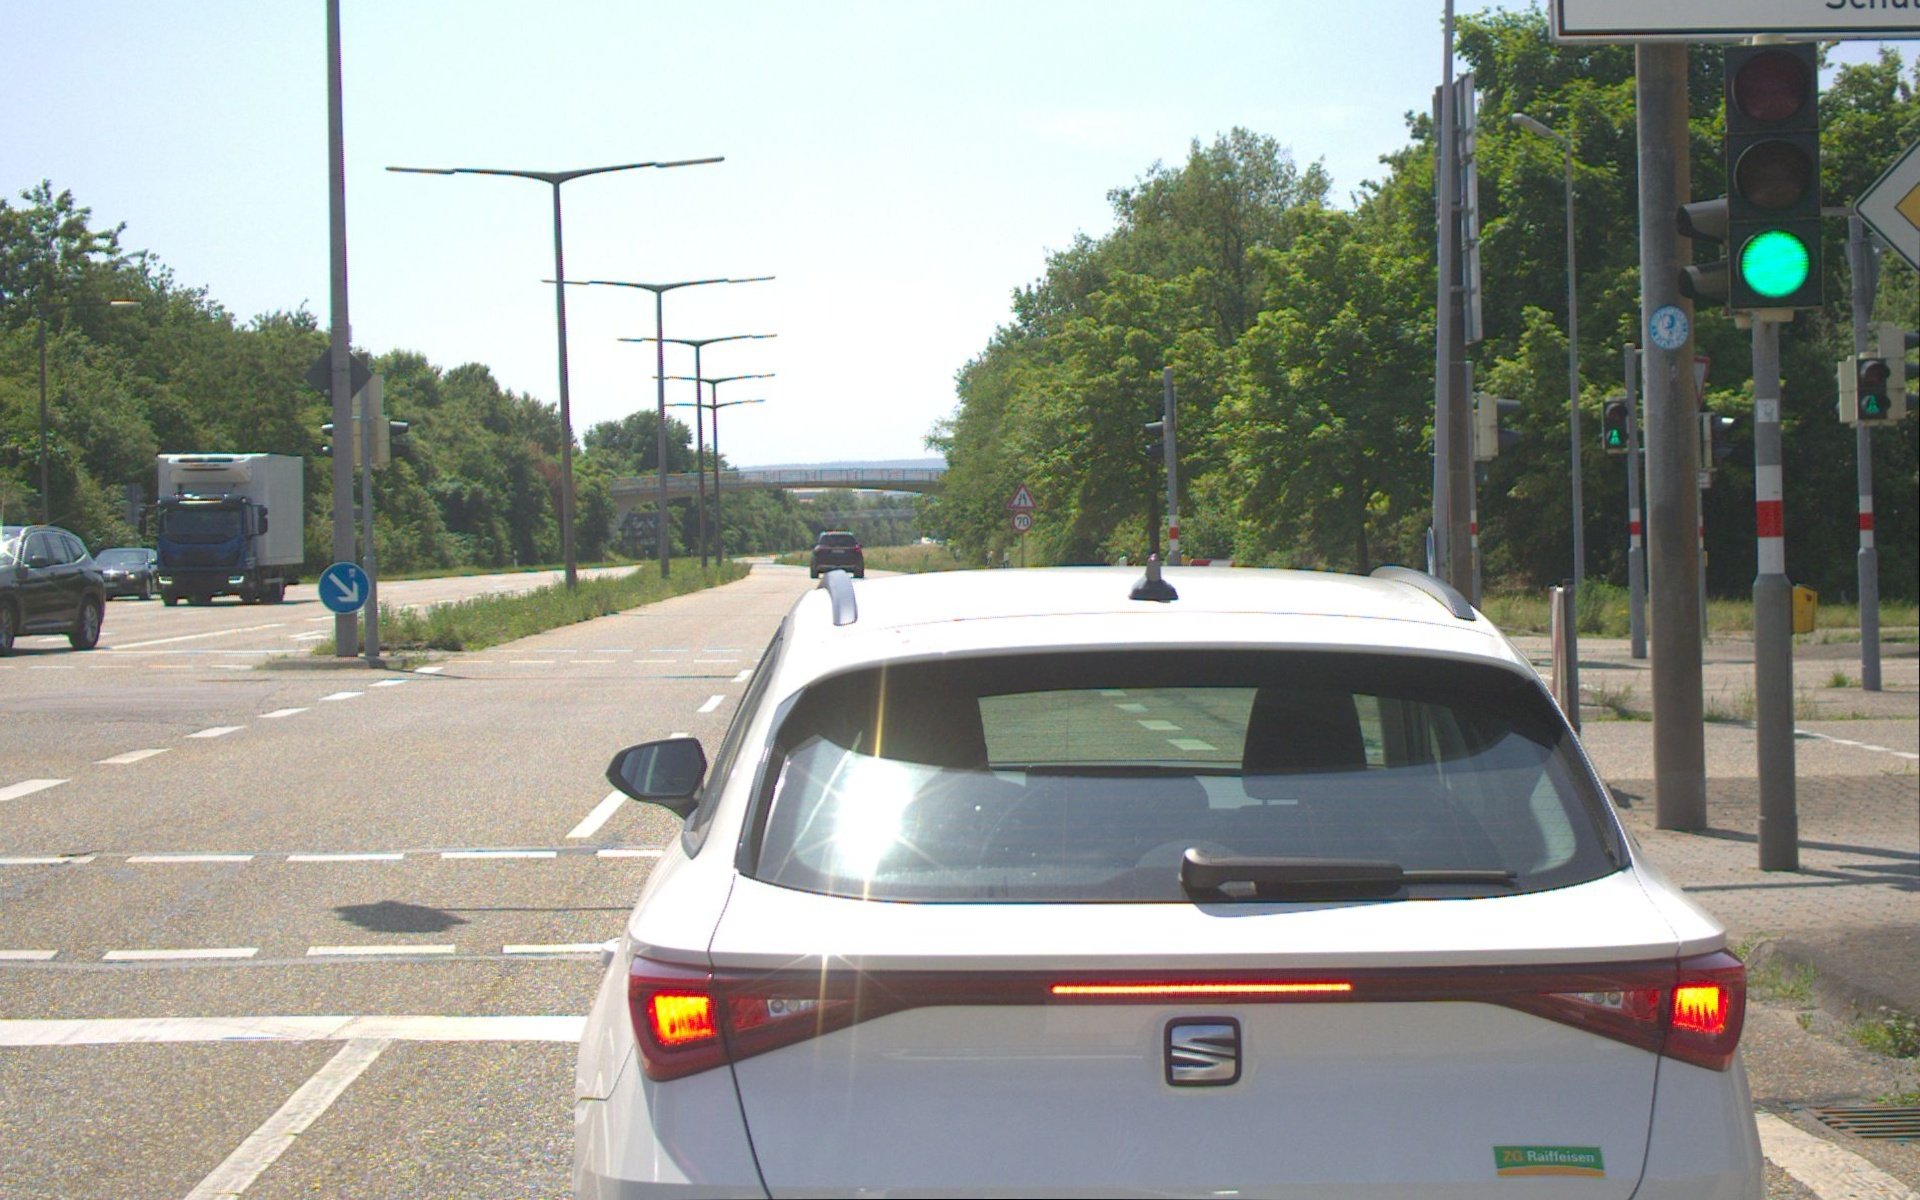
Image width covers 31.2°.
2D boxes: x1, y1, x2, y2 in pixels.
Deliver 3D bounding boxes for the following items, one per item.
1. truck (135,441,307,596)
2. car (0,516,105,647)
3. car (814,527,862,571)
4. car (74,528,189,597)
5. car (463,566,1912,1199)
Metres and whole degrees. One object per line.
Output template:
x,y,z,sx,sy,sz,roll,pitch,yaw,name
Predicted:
-17.741,-1.972,82.967,2.687,3.558,7.268,0,1,-1,truck
-12.773,-0.273,45.424,1.707,1.657,4.223,-1,1,3,car
-4.838,-2.032,136.457,1.855,1.703,4.001,-1,1,-2,car
-21.514,-1.000,89.467,1.822,1.726,4.926,-1,1,-1,car
0.248,0.667,5.985,1.734,1.423,3.695,1,0,-1,car
